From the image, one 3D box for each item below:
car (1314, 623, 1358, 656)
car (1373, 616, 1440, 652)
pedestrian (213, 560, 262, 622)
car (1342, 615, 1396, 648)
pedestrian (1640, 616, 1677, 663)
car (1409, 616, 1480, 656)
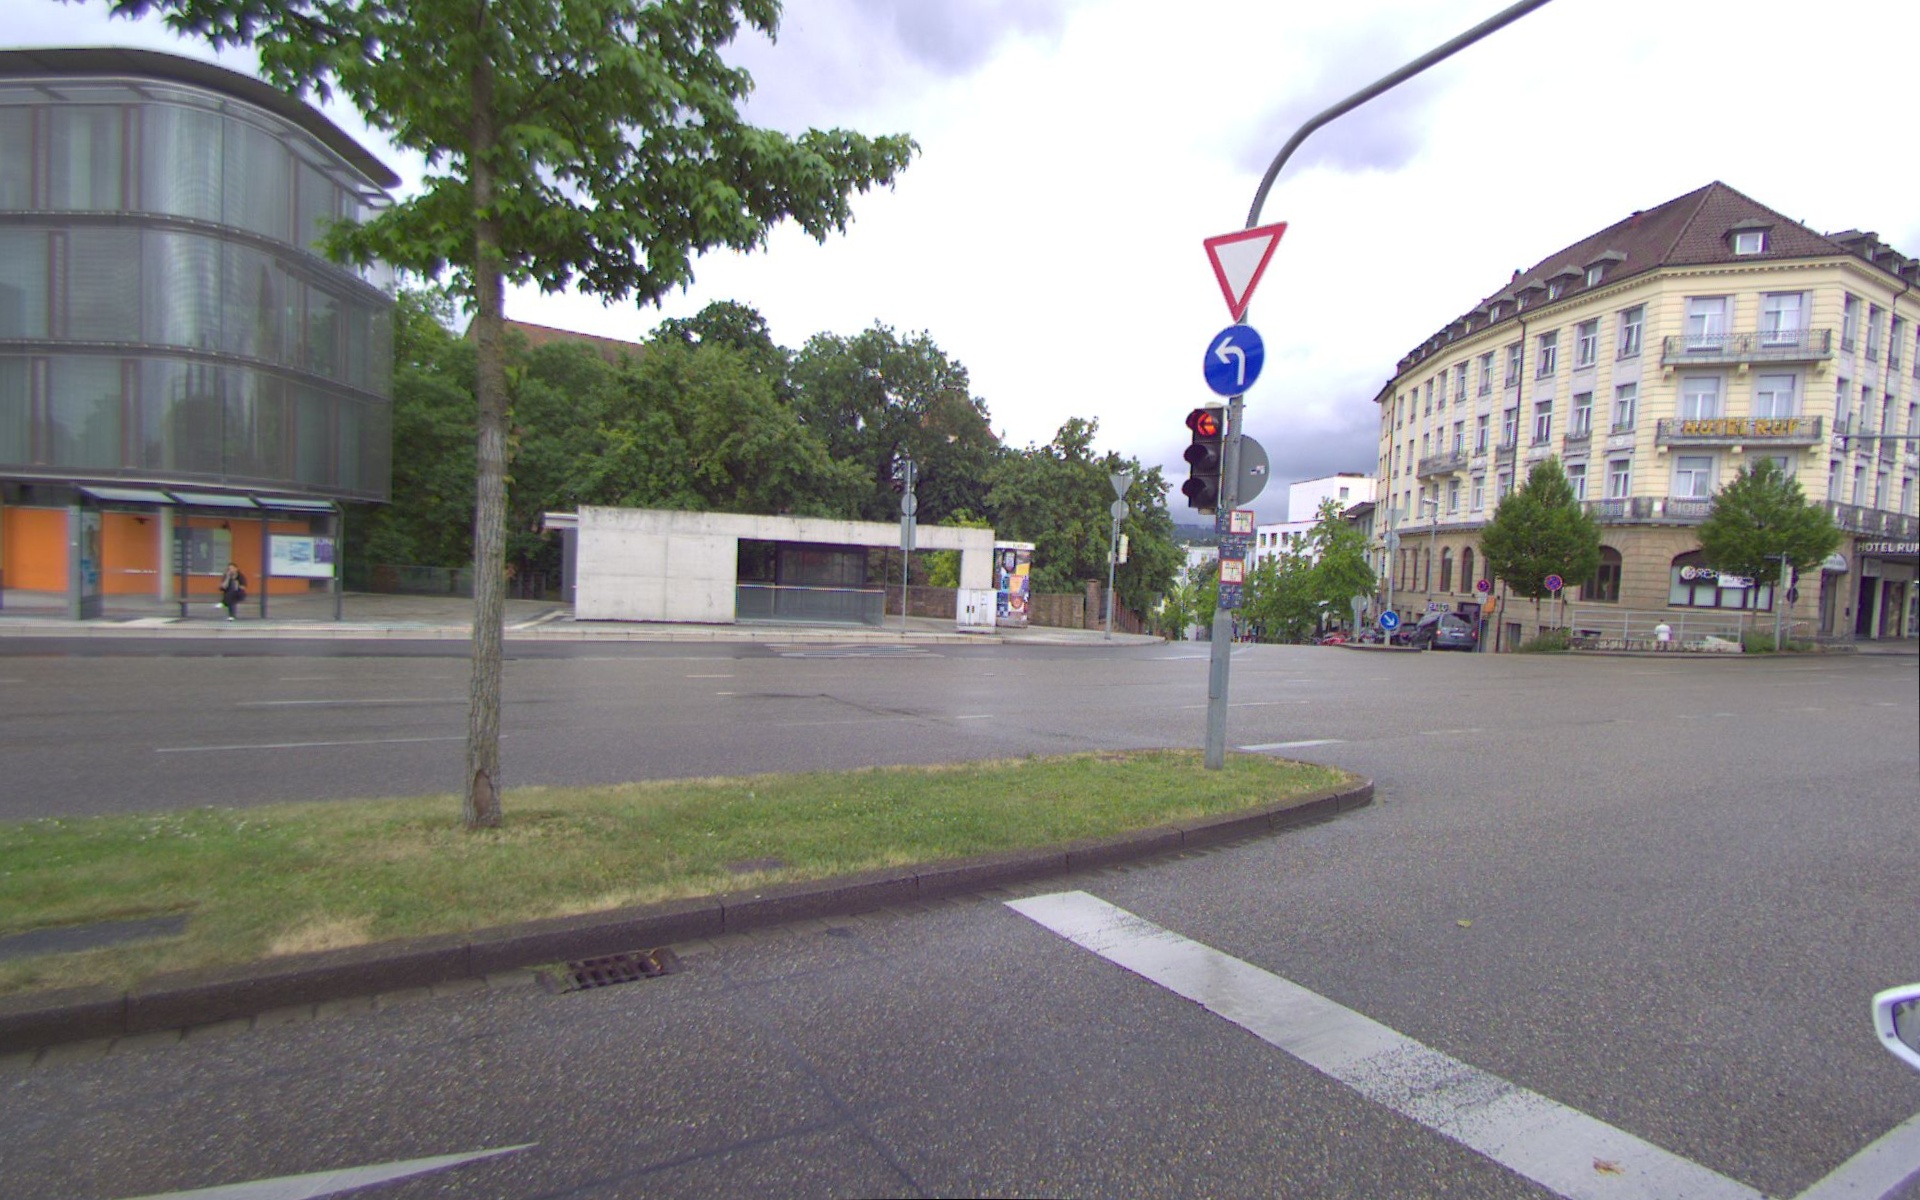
[{"bbox_3d":[23.579,2.471,63.058,1.741,1.836,3.624,2,1,7],"label":"car"},{"bbox_3d":[22.899,1.713,51.706,1.959,1.662,4.002,2,0,6],"label":"car"},{"bbox_3d":[-16.095,-0.197,22.396,0.780,1.341,0.798,1,1,-28],"label":"pedestrian"},{"bbox_3d":[23.155,1.767,57.004,1.757,1.662,3.916,2,1,6],"label":"car"},{"bbox_3d":[29.009,1.635,41.709,1.010,1.903,0.859,1,1,-30],"label":"pedestrian"},{"bbox_3d":[21.726,1.572,45.199,1.764,1.589,4.002,2,1,9],"label":"car"}]
